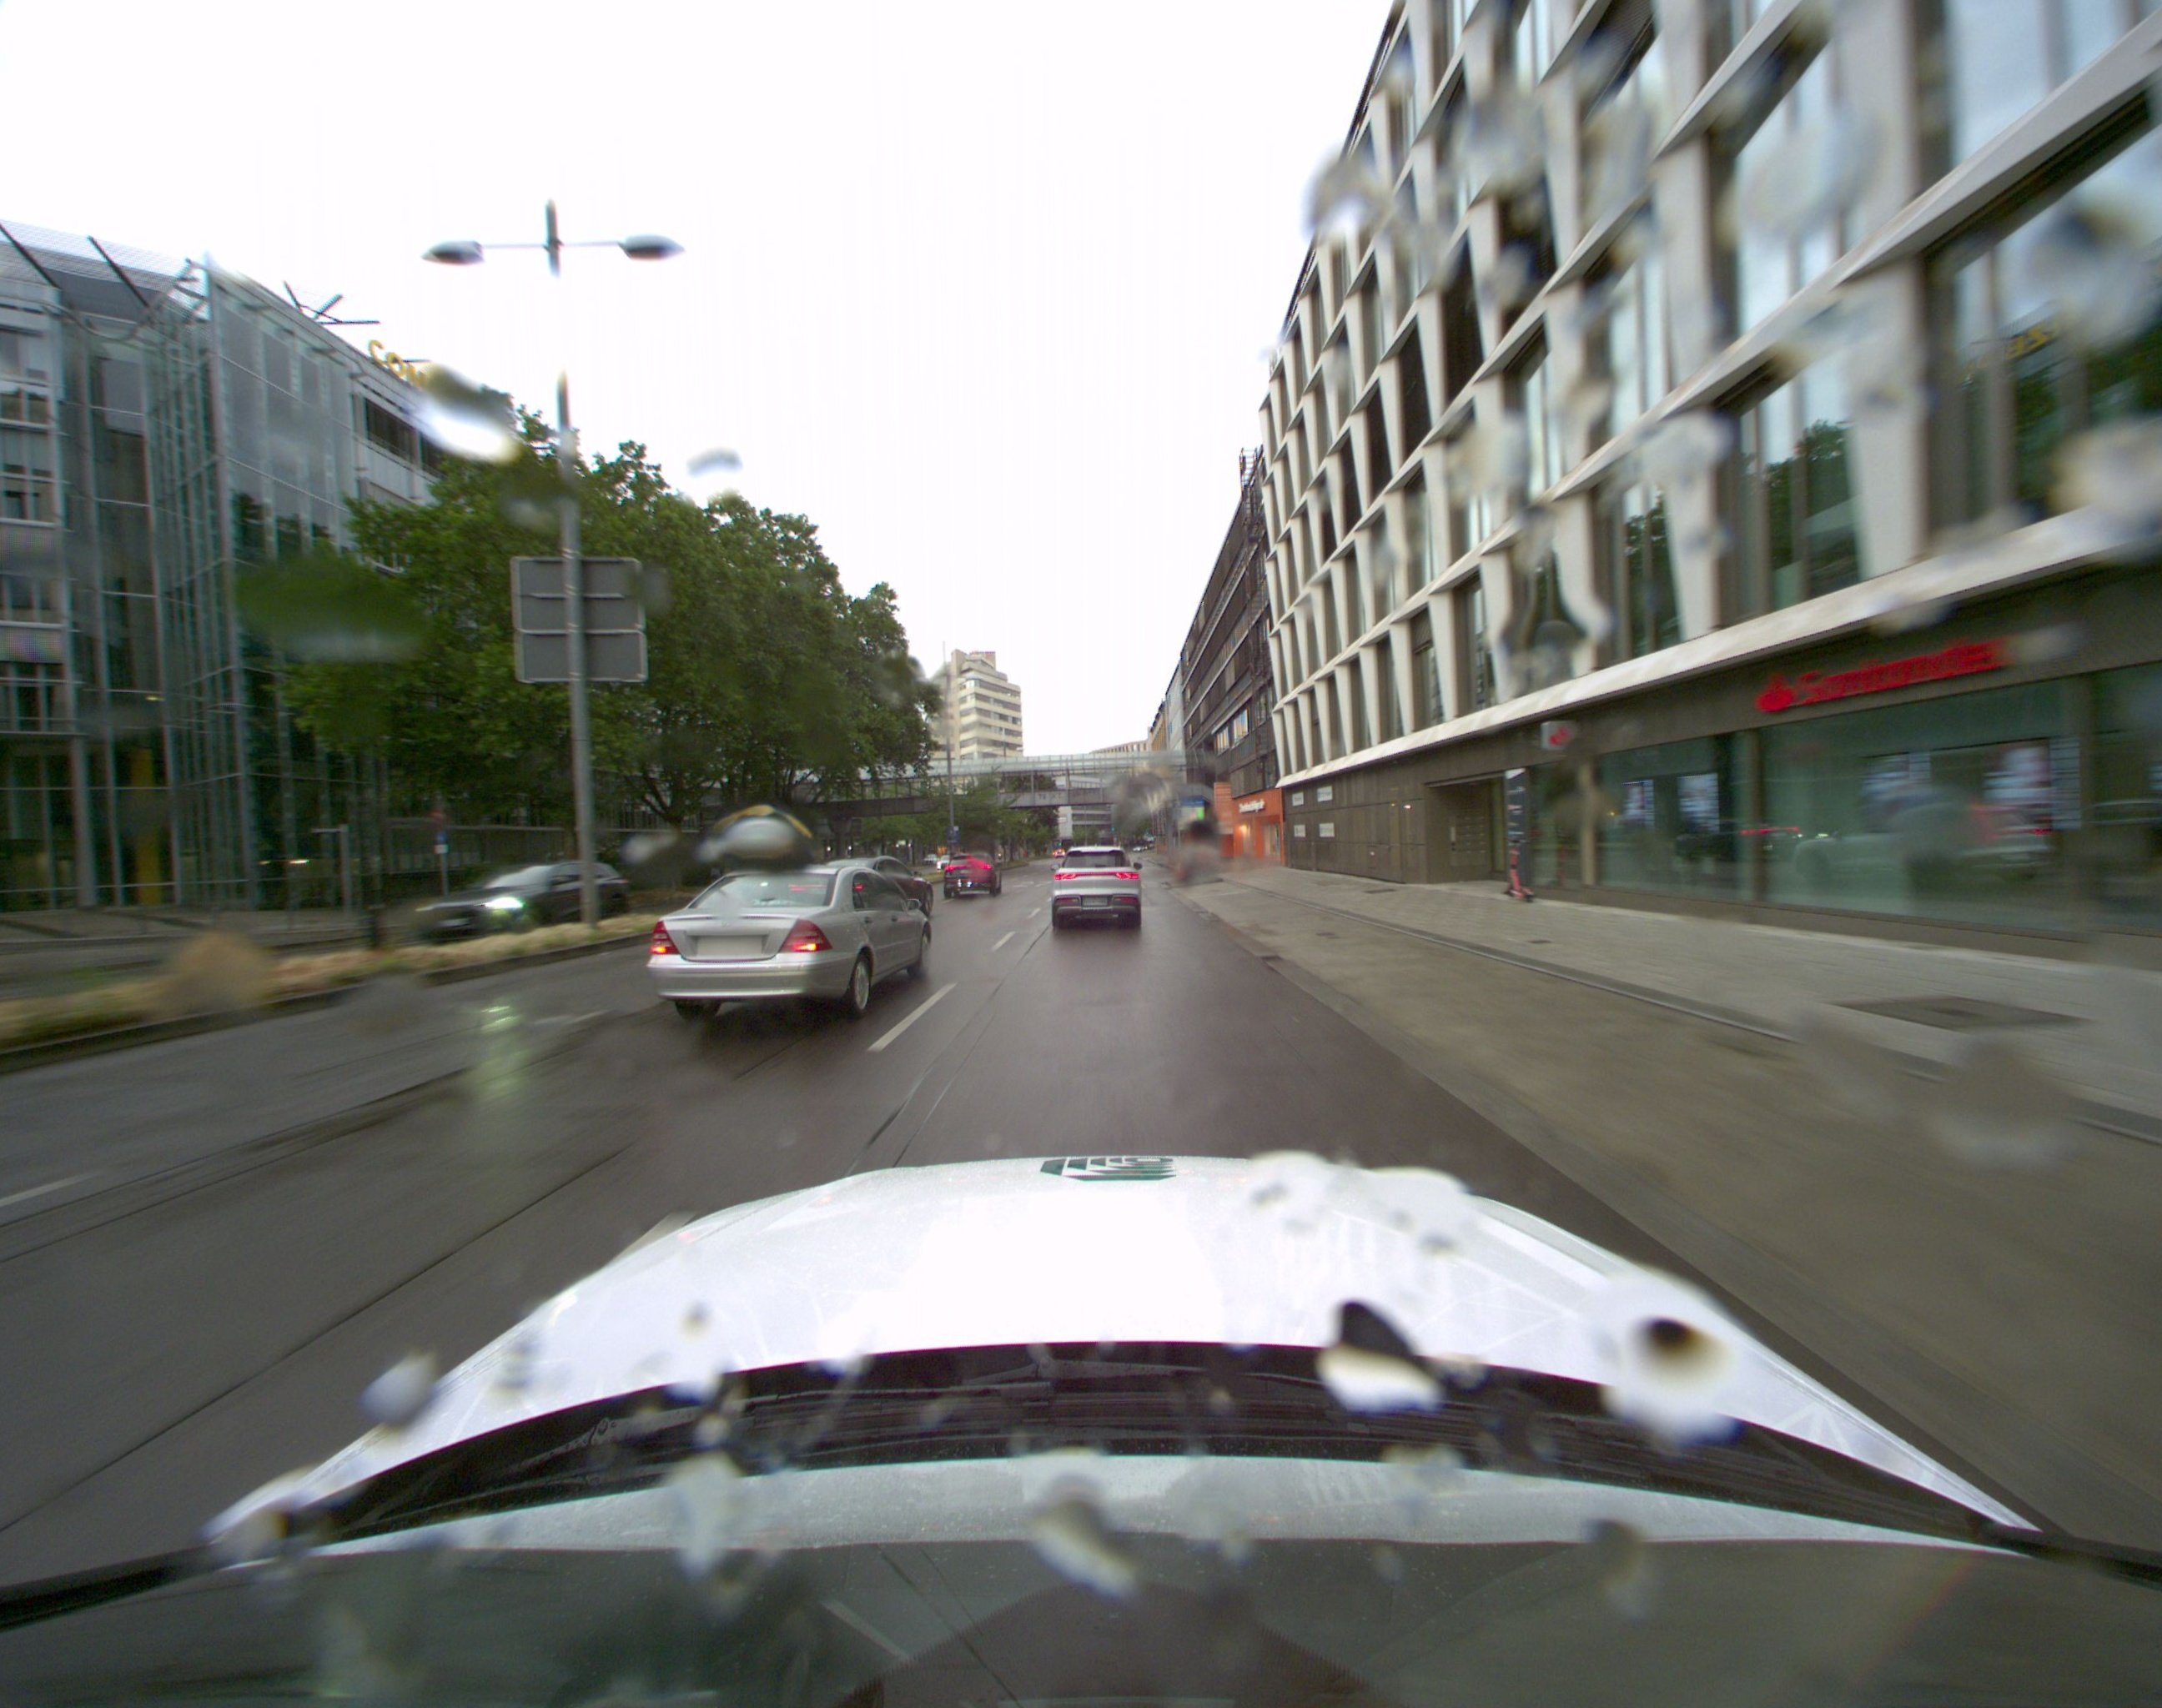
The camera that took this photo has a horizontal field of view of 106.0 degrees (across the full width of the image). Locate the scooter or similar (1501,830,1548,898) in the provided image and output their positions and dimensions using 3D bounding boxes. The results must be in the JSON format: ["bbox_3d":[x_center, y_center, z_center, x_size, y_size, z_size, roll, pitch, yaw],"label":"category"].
[{"bbox_3d":[8.494,0.182,15.624,0.409,1.236,1.192,-2,0,10],"label":"scooter or similar"}]

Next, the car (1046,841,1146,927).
[{"bbox_3d":[0.345,0.575,17.595,1.894,1.621,4.001,-1,0,2],"label":"car"}]

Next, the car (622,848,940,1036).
[{"bbox_3d":[-2.804,0.733,8.761,1.666,1.479,4.362,-1,-1,2],"label":"car"}]

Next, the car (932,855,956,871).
[{"bbox_3d":[-14.181,0.888,84.317,1.656,1.464,4.082,-4,0,1],"label":"car"}]

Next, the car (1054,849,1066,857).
[{"bbox_3d":[-3.709,-0.256,144.728,1.646,1.342,4.004,-2,0,3],"label":"car"}]

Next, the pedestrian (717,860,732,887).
[{"bbox_3d":[-24.566,1.326,56.096,0.594,1.807,0.760,-2,1,2],"label":"pedestrian"}]

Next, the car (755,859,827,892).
[{"bbox_3d":[-14.234,1.019,40.285,1.684,1.438,4.761,-3,0,2],"label":"car"}]

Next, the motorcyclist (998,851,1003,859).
[{"bbox_3d":[-14.258,0.113,144.282,0.635,1.418,0.970,-3,-1,2],"label":"motorcyclist"}]

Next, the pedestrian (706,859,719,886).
[{"bbox_3d":[-25.409,1.286,56.195,0.603,1.807,0.511,-2,1,1],"label":"pedestrian"}]

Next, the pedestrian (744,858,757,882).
[{"bbox_3d":[-26.395,1.282,65.053,0.720,1.807,0.618,-2,1,1],"label":"pedestrian"}]

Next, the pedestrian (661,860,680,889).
[{"bbox_3d":[-26.222,1.306,52.058,0.732,1.807,0.803,-2,1,2],"label":"pedestrian"}]

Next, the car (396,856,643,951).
[{"bbox_3d":[-11.621,0.923,17.372,1.867,1.680,4.682,-3,0,2],"label":"car"}]

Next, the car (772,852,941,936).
[{"bbox_3d":[-4.735,0.759,18.066,1.863,1.479,4.887,-3,0,6],"label":"car"}]

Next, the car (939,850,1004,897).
[{"bbox_3d":[-3.721,0.642,28.328,1.769,1.457,3.997,-3,0,-2],"label":"car"}]

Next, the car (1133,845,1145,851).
[{"bbox_3d":[16.683,-1.831,234.376,1.565,1.538,4.026,-2,0,32],"label":"car"}]

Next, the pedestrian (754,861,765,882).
[{"bbox_3d":[-25.623,1.399,64.934,0.557,1.686,0.511,-2,1,2],"label":"pedestrian"}]

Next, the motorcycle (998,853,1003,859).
[{"bbox_3d":[-14.237,0.412,144.385,0.582,1.021,1.806,-2,0,2],"label":"motorcycle"}]

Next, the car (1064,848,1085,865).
[{"bbox_3d":[-0.613,0.247,78.820,1.804,1.578,4.003,-2,0,2],"label":"car"}]

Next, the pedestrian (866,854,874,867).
[{"bbox_3d":[-27.718,0.888,107.052,0.740,1.715,1.057,-2,0,1],"label":"pedestrian"}]
